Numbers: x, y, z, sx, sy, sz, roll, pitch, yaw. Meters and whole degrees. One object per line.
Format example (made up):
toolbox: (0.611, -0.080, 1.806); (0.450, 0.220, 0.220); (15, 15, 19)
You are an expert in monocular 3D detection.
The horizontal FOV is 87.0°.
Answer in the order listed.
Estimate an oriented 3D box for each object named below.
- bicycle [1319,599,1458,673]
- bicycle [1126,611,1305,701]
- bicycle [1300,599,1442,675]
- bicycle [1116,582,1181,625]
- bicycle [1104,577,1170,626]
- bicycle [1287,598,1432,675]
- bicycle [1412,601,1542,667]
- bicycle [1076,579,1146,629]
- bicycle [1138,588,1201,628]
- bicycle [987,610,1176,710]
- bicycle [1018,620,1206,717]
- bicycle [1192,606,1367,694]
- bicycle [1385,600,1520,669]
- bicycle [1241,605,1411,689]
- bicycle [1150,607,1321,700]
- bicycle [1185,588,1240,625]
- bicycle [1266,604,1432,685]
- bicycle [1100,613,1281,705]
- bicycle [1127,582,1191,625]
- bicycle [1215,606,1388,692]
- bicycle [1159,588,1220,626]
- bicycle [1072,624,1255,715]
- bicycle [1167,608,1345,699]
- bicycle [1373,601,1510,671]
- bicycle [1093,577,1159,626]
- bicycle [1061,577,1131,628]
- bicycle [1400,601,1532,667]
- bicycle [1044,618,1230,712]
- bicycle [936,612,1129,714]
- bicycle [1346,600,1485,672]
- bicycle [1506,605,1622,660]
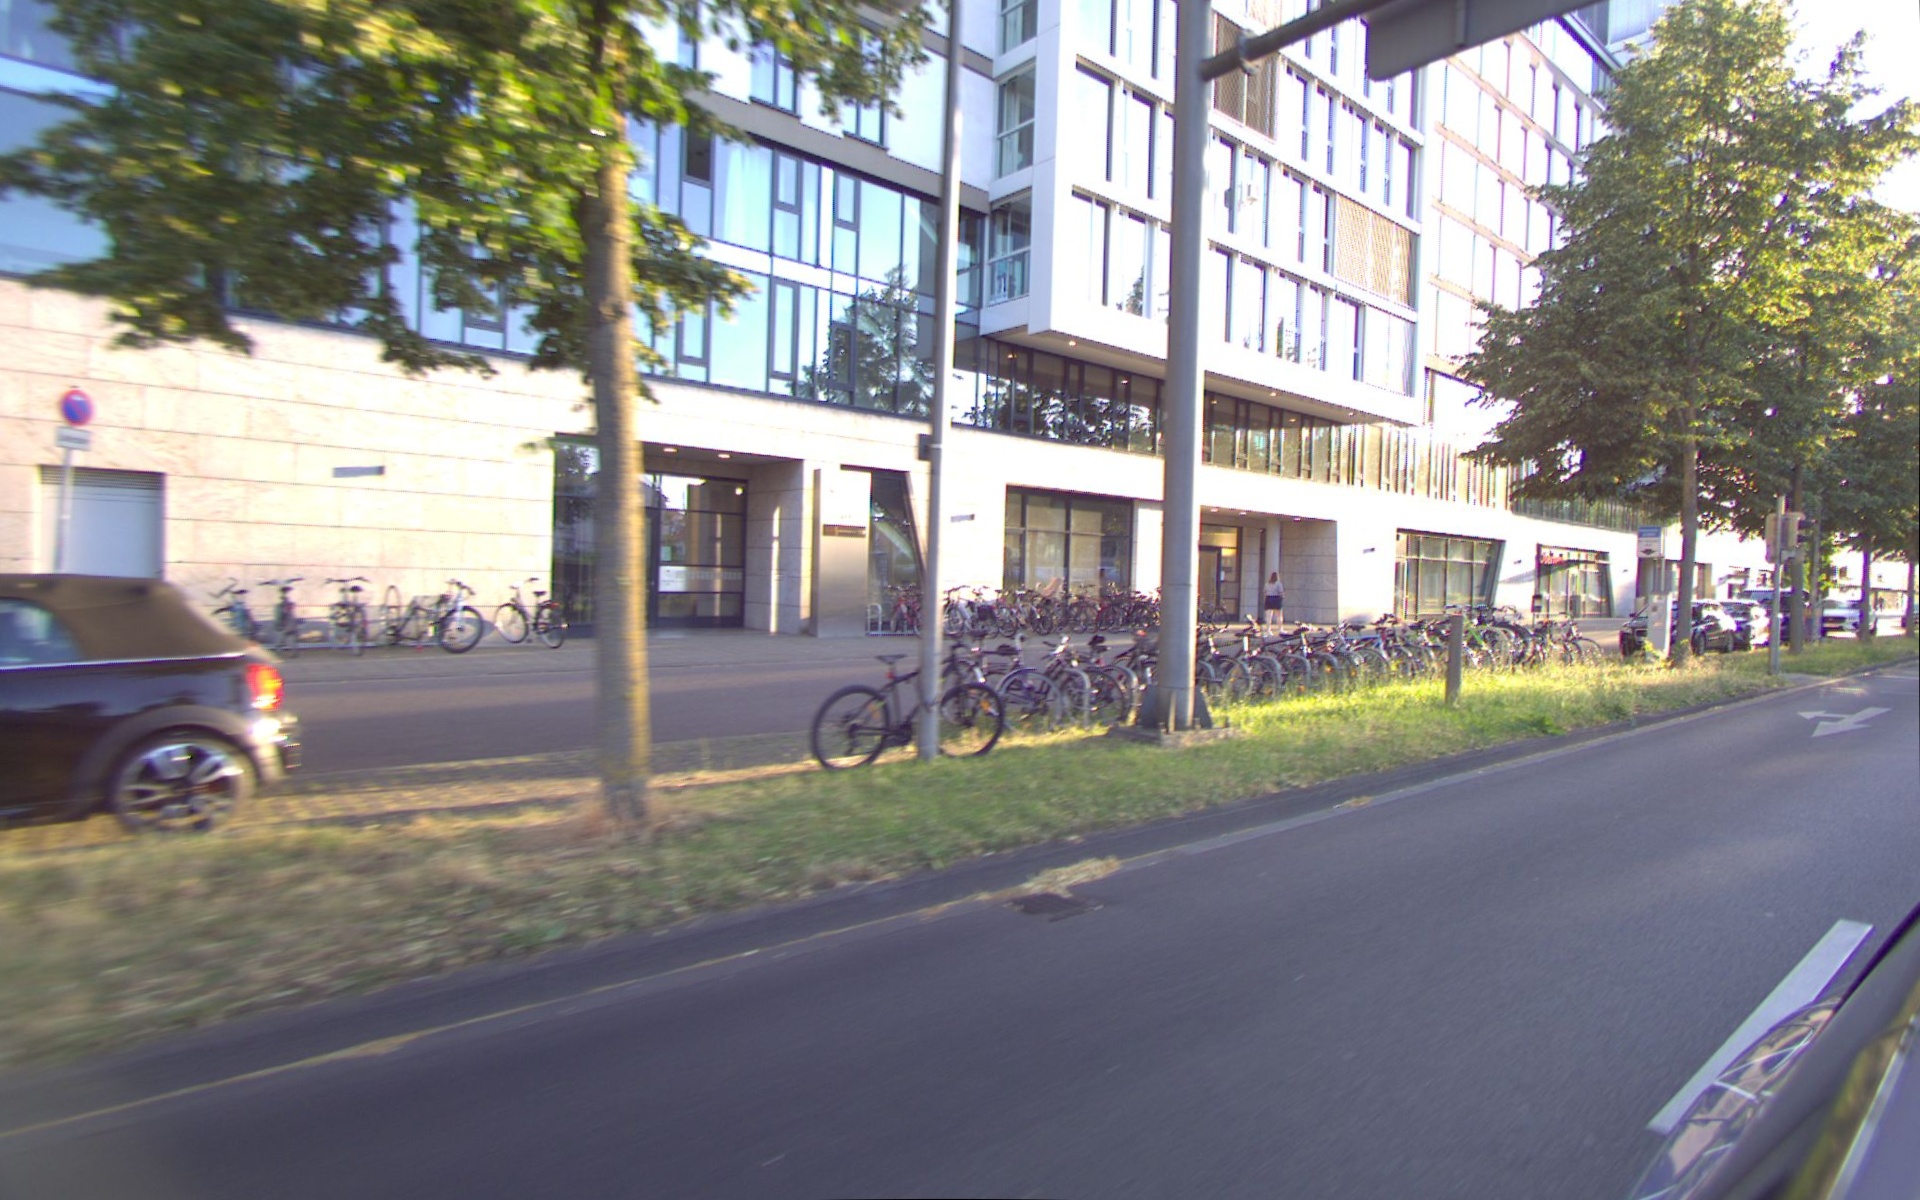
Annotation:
bicycle: (6.488, 0.547, 15.430); (0.397, 1.067, 1.943); (1, -2, -42)
bicycle: (3.015, 0.652, 12.162); (2.142, 0.999, 0.436); (-2, -2, 44)
bicycle: (6.105, 0.544, 15.114); (1.941, 1.067, 0.398); (-2, -2, 44)
bicycle: (4.972, 0.082, 26.843); (0.437, 1.060, 1.835); (1, 2, -39)
bicycle: (4.613, 0.023, 26.486); (0.437, 1.191, 1.835); (1, 2, -39)
bicycle: (5.798, 0.524, 14.781); (1.941, 1.067, 0.398); (-2, -2, 44)
bicycle: (8.777, 0.576, 17.240); (1.941, 1.067, 0.309); (-2, -2, 43)
bicycle: (3.829, 0.075, 25.754); (0.495, 1.191, 1.833); (0, 2, -42)
bicycle: (5.653, 0.198, 27.416); (0.396, 0.999, 1.835); (1, 2, -39)
bicycle: (1.216, 0.603, 10.608); (2.142, 0.952, 0.436); (-2, -2, 44)
bicycle: (1.578, 0.701, 10.898); (2.142, 0.952, 0.436); (-2, -2, 44)
bicycle: (4.089, 0.629, 13.106); (2.142, 1.067, 0.516); (-2, -2, 44)
bicycle: (8.052, 0.562, 16.612); (1.941, 1.067, 0.408); (-2, -2, 43)
bicycle: (4.971, 0.631, 13.890); (2.142, 1.067, 0.553); (-2, -2, 44)
bicycle: (3.331, 0.636, 12.456); (2.142, 1.067, 0.295); (-2, -2, 44)
bicycle: (7.212, 0.179, 28.946); (0.396, 0.999, 1.579); (1, 2, -39)
bicycle: (5.471, 0.612, 14.359); (2.142, 1.067, 0.562); (-2, -2, 44)
bicycle: (2.642, 0.662, 11.825); (2.142, 0.986, 0.436); (-2, -2, 44)
bicycle: (5.320, 0.082, 27.173); (0.396, 1.070, 1.835); (1, 2, -39)
bicycle: (4.506, 0.636, 13.485); (2.142, 1.067, 0.562); (-2, -2, 44)
bicycle: (6.307, 0.188, 27.893); (0.396, 0.964, 1.748); (1, 2, -39)
bicycle: (2.263, 0.756, 11.516); (2.142, 0.952, 0.436); (-2, -2, 44)
bicycle: (3.678, 0.649, 12.729); (2.142, 1.067, 0.516); (-2, -2, 44)
bicycle: (7.698, 0.567, 16.255); (1.941, 1.067, 0.408); (-2, -2, 43)
bicycle: (4.259, 0.017, 26.131); (0.437, 1.191, 1.835); (1, 2, -39)
bicycle: (3.389, 0.046, 25.396); (0.495, 1.191, 1.833); (0, 2, -42)
bicycle: (8.458, 0.568, 16.983); (1.941, 1.067, 0.342); (-2, -2, 43)
bicycle: (1.904, 0.689, 11.216); (2.142, 0.952, 0.445); (-2, -2, 44)
bicycle: (0.692, 0.620, 10.436); (2.142, 0.952, 0.537); (-2, -2, 44)
bicycle: (7.092, 0.557, 15.827); (1.941, 1.067, 0.408); (-2, -2, 43)
bicycle: (12.255, 0.655, 20.597); (0.535, 1.067, 1.945); (1, -2, -40)
